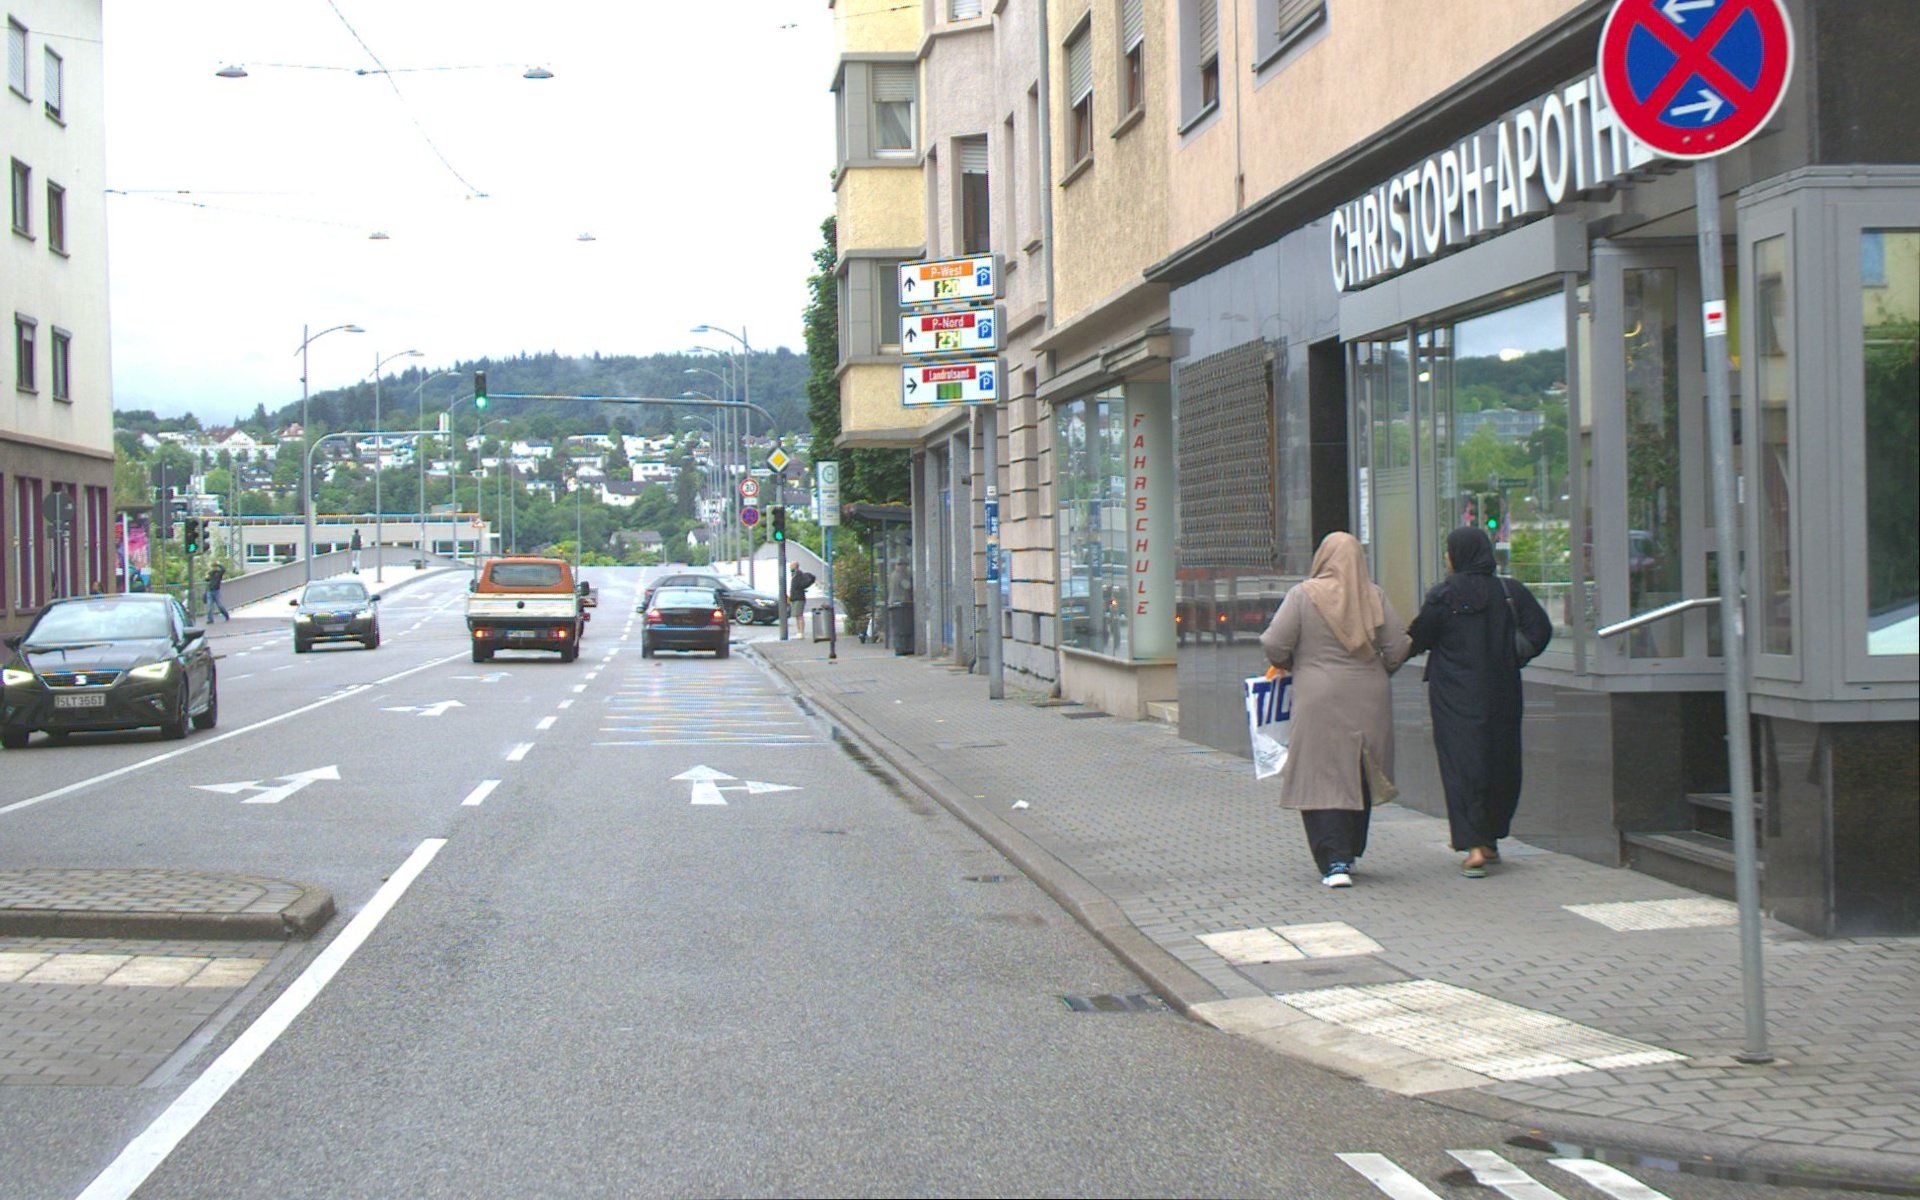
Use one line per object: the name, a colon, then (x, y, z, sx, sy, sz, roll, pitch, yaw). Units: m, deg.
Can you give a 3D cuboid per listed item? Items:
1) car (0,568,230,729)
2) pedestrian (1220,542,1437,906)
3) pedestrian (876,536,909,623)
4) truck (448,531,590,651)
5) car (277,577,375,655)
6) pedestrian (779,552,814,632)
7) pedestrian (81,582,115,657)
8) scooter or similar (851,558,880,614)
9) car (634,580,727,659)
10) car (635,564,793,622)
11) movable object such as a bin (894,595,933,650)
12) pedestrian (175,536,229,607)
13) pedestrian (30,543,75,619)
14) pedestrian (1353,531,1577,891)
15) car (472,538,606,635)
car: (-8.264, 0.426, 33.663, 1.708, 1.446, 4.086, -1, 1, -6)
pedestrian: (1.623, 0.530, 15.252, 0.778, 1.554, 0.783, -1, 0, -6)
pedestrian: (-1.329, -0.414, 67.804, 0.619, 1.693, 0.656, -1, 0, -1)
truck: (-8.234, -0.187, 64.629, 2.399, 2.122, 5.316, -1, 1, -5)
car: (-14.930, 0.348, 81.178, 1.930, 1.751, 4.574, -1, 1, -6)
pedestrian: (-3.785, -0.198, 79.731, 0.732, 1.835, 0.631, -1, 0, -6)
pedestrian: (-18.042, 0.397, 71.999, 0.574, 1.548, 0.740, -1, 0, -7)
scooter or similar: (-2.001, -0.298, 72.447, 0.511, 1.168, 1.549, -1, 1, -5)
car: (-5.520, 0.358, 67.908, 1.754, 1.474, 4.001, -1, 1, -5)
car: (-6.989, -0.194, 97.917, 3.991, 1.547, 1.998, -1, 1, 21)
movable object such as a bin: (-0.806, 0.385, 59.635, 0.600, 0.923, 0.704, -1, 0, -5)
pedestrian: (-21.746, -0.828, 98.660, 0.984, 2.007, 1.172, -1, 1, 24)
pedestrian: (-19.040, -0.404, 72.141, 0.773, 1.572, 0.589, -1, 0, -5)
pedestrian: (2.252, 0.478, 15.429, 0.768, 1.554, 0.876, -1, 0, -6)
car: (-10.725, -0.344, 87.204, 1.993, 2.342, 5.010, -1, 1, -23)
